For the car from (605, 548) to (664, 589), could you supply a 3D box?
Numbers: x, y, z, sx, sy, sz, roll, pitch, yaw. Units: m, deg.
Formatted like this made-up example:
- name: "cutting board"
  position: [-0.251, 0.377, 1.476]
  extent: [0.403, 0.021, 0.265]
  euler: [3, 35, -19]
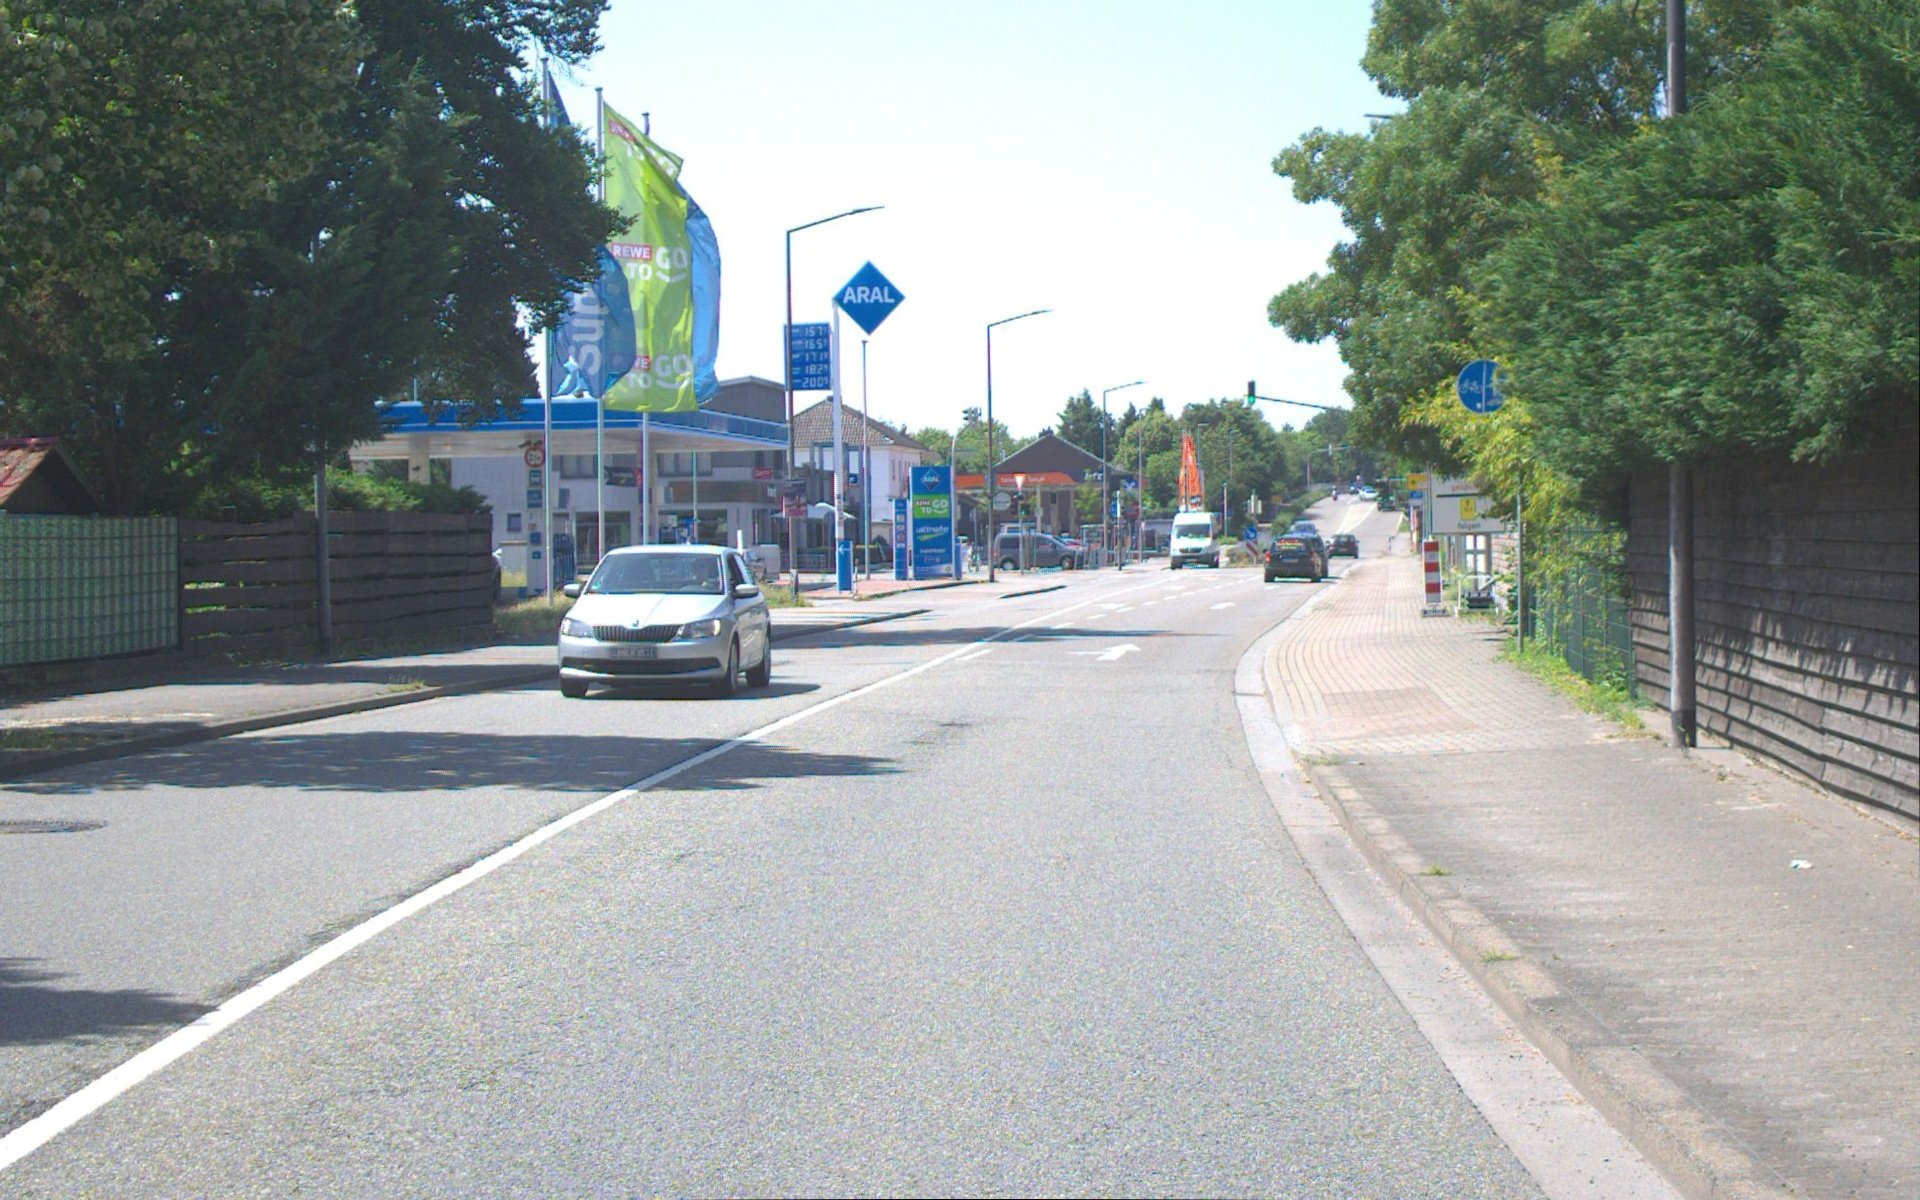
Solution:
- name: "car"
  position: [-12.122, -1.179, 128.112]
  extent: [1.617, 1.415, 3.711]
  euler: [-2, 1, 3]

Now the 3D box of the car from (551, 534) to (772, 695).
- name: "car"
  position: [-2.866, 0.099, 33.650]
  extent: [1.612, 1.477, 3.707]
  euler: [0, 1, 4]

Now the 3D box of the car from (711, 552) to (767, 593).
- name: "car"
  position: [-8.245, -1.037, 128.334]
  extent: [1.617, 1.415, 3.711]
  euler: [-2, 1, 3]

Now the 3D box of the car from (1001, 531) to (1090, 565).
- name: "car"
  position: [3.925, -2.381, 157.822]
  extent: [3.987, 1.503, 1.554]
  euler: [-1, 1, 4]

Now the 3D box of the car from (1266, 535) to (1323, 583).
- name: "car"
  position: [10.498, -1.291, 107.801]
  extent: [1.666, 1.450, 3.471]
  euler: [-1, 1, 7]

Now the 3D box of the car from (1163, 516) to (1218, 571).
- name: "car"
  position: [10.770, -2.611, 160.306]
  extent: [1.994, 2.414, 5.945]
  euler: [1, 0, 9]

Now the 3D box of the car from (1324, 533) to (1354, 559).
- name: "car"
  position: [21.817, -3.099, 197.914]
  extent: [1.666, 1.450, 3.471]
  euler: [-1, 1, 7]
